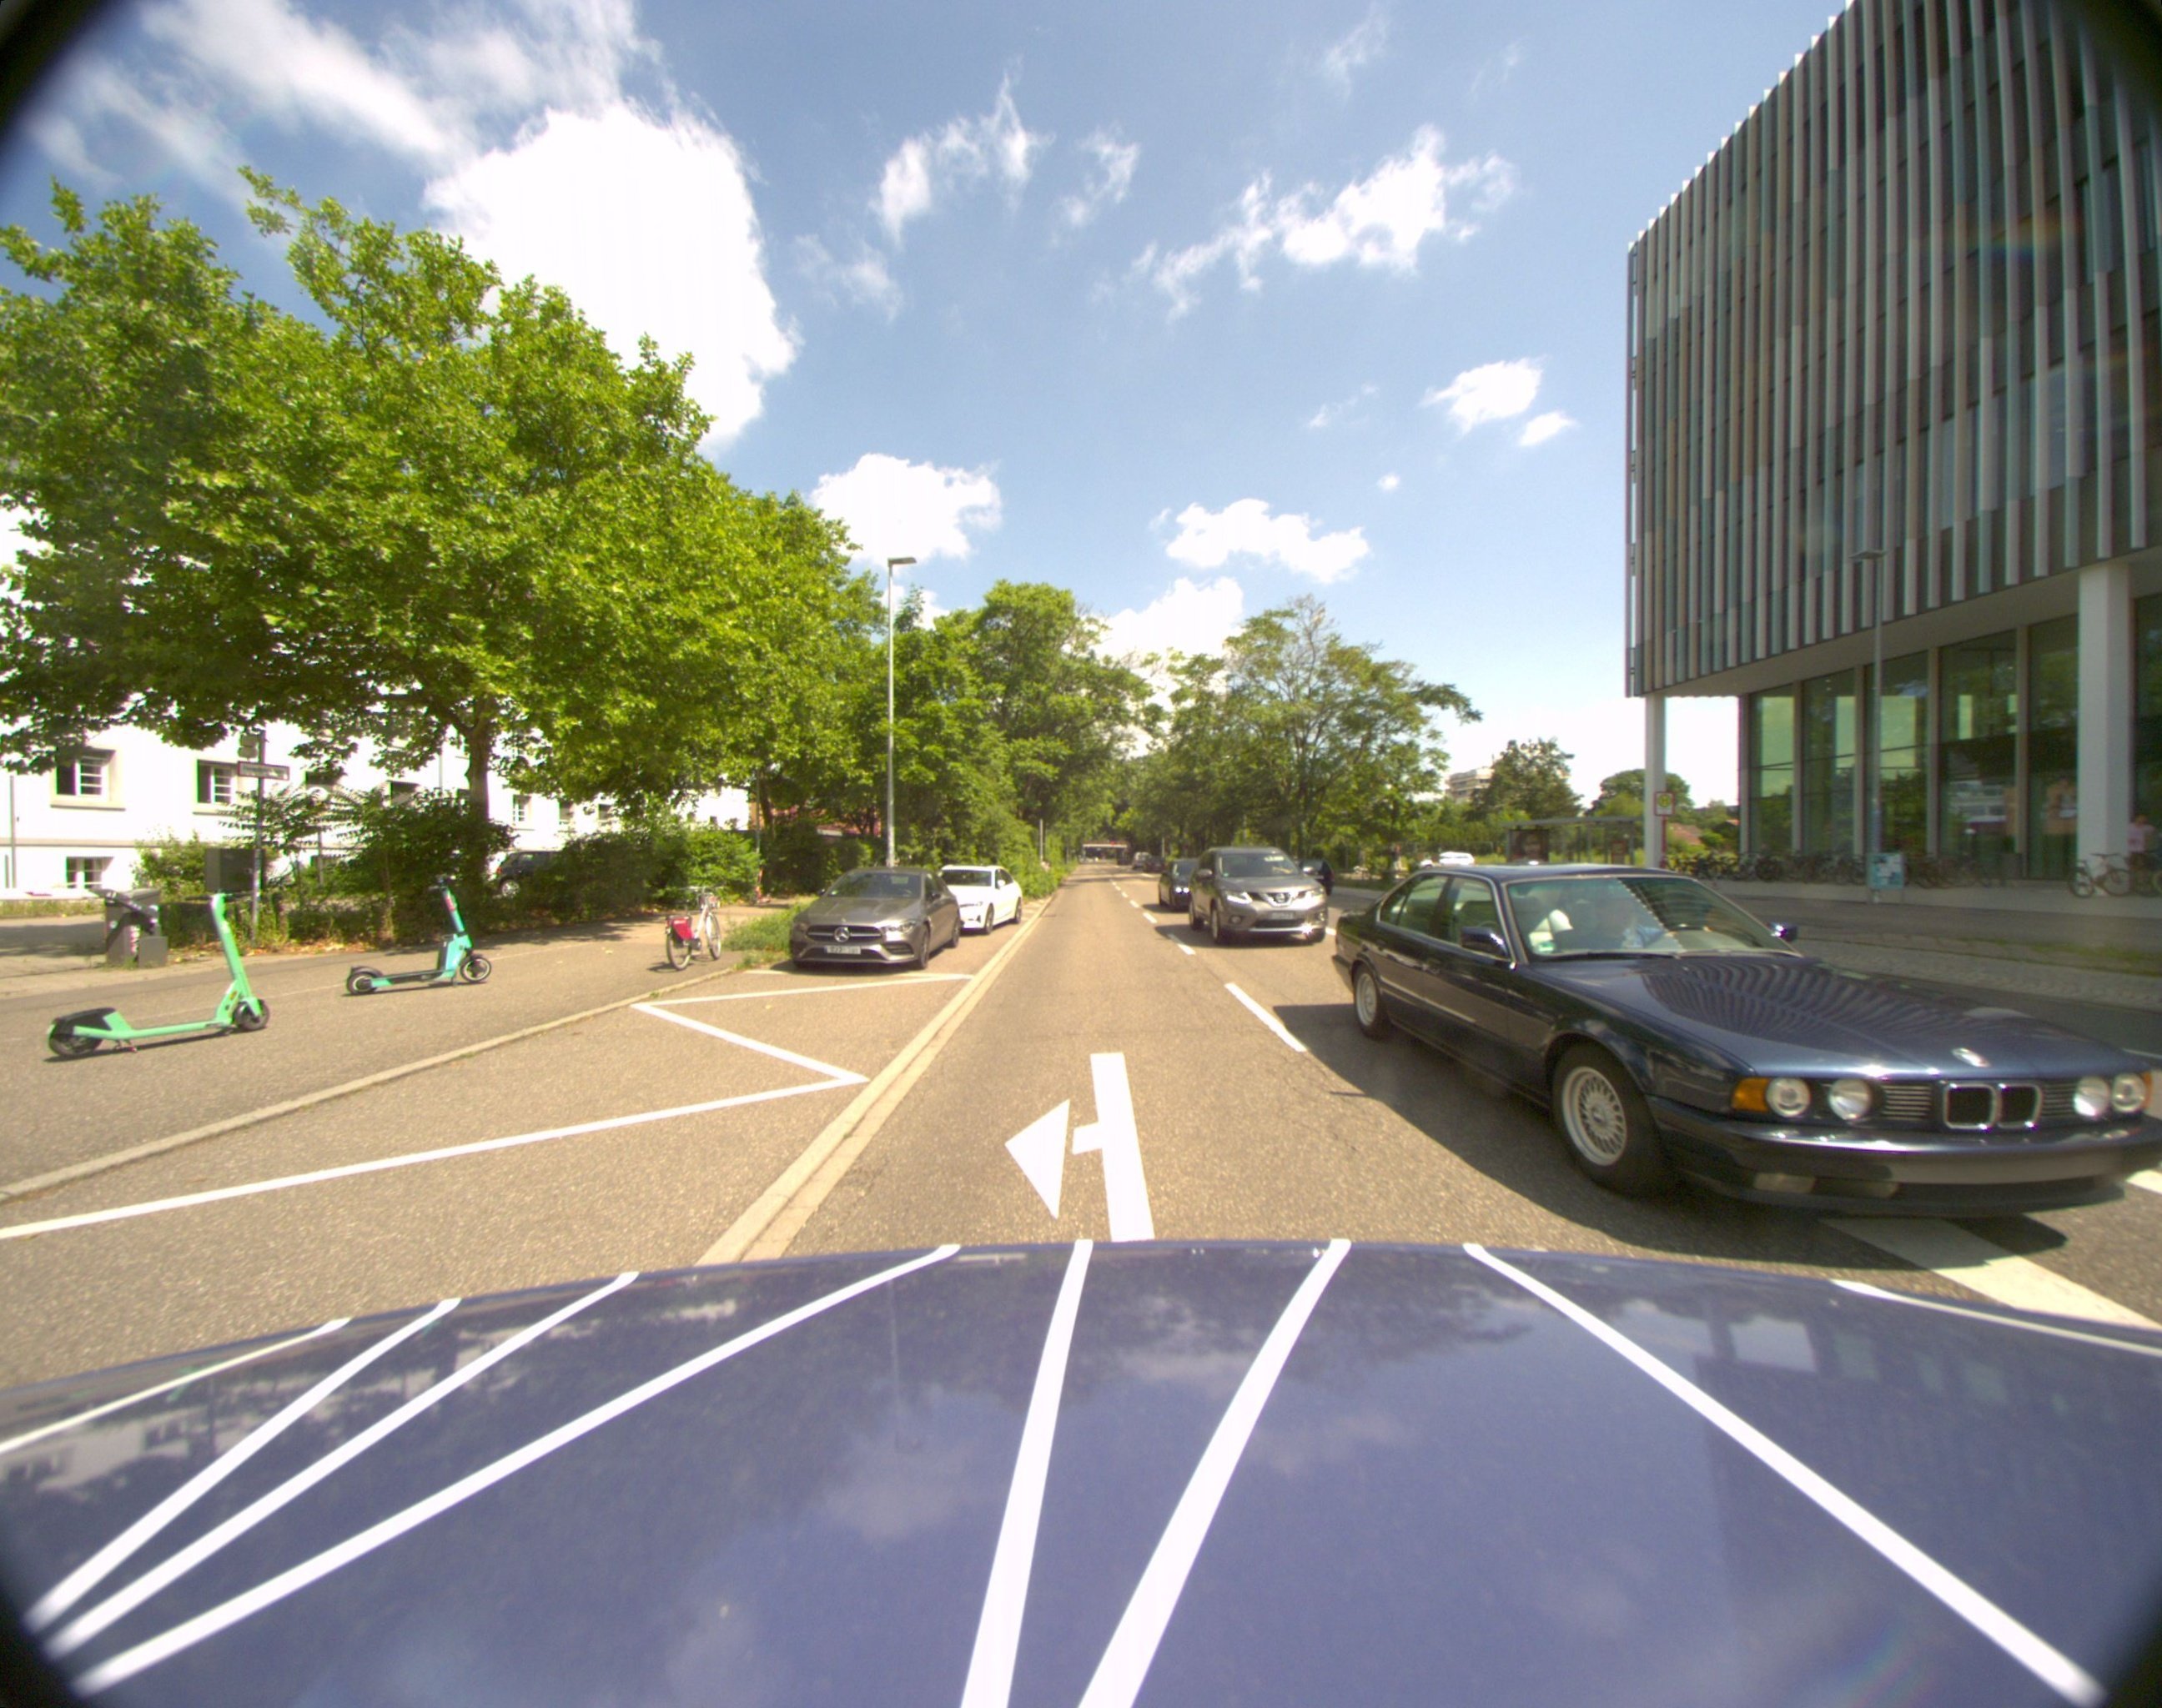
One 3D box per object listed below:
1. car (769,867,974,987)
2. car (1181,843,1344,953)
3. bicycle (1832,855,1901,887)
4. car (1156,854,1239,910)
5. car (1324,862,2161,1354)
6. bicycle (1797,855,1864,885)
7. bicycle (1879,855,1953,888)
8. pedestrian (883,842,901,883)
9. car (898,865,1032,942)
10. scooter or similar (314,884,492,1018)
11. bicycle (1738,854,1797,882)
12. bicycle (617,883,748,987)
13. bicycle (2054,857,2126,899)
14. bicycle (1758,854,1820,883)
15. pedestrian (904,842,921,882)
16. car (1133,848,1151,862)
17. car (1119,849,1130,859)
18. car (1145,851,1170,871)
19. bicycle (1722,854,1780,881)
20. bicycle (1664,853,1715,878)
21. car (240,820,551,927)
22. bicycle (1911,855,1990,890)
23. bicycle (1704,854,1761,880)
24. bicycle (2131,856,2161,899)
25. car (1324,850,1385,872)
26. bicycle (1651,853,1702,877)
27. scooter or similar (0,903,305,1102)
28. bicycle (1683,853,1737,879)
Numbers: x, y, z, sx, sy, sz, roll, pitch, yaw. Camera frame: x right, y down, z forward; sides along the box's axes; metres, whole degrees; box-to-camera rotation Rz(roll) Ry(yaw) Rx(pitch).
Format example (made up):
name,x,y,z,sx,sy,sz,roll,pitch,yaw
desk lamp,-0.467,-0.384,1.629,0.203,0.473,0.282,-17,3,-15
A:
name,x,y,z,sx,sy,sz,roll,pitch,yaw
car,-3.058,0.983,12.276,1.861,1.470,4.942,1,0,1
car,3.072,0.682,13.848,1.824,1.669,4.478,1,0,-1
bicycle,25.305,0.531,24.488,1.784,0.950,0.433,-2,1,0
car,3.242,0.731,21.928,1.829,1.407,4.191,-1,0,1
car,3.027,0.786,4.569,1.696,1.378,4.614,-1,0,1
bicycle,25.169,0.534,25.522,1.784,0.950,0.433,-2,1,0
bicycle,25.442,0.527,23.163,1.784,0.950,0.433,-2,1,0
pedestrian,-8.567,0.379,34.480,0.684,1.770,0.790,-2,1,-12
car,-2.471,1.012,17.539,1.741,1.442,4.945,1,0,7
scooter or similar,-7.070,0.958,7.971,0.528,1.239,1.292,1,0,35
bicycle,25.270,0.503,27.984,1.784,0.950,0.433,-2,1,0
bicycle,-5.311,1.028,10.290,0.639,1.183,2.119,1,0,0
bicycle,24.124,0.565,18.164,1.547,0.950,0.373,-2,1,-11
bicycle,25.078,0.522,26.913,1.784,0.950,0.433,-2,1,0
pedestrian,-7.658,0.343,34.495,0.684,1.770,0.790,-2,1,-12
car,6.805,0.106,84.169,1.897,1.502,3.829,-2,1,6
car,7.151,0.002,126.043,1.756,1.502,3.828,-2,1,2
car,6.345,0.548,63.015,1.897,1.502,3.829,-2,1,6
bicycle,25.220,0.510,28.589,1.784,0.950,0.433,-2,1,0
bicycle,25.217,0.466,31.496,1.784,0.950,0.433,-2,1,0
car,-12.947,0.333,14.595,3.998,1.772,1.999,-2,1,-2
bicycle,25.200,0.540,22.031,1.784,0.950,0.433,-2,1,0
bicycle,25.194,0.489,29.393,1.784,0.950,0.433,-2,1,0
bicycle,25.164,0.520,17.319,1.543,0.950,0.374,-2,1,15
car,20.275,0.516,56.430,3.823,1.502,1.900,-2,1,6
bicycle,25.203,0.458,32.154,1.784,0.950,0.433,-2,1,0
scooter or similar,-6.941,0.998,5.645,0.529,1.162,1.576,1,0,14
bicycle,25.163,0.479,30.399,1.784,0.950,0.433,-2,1,0
